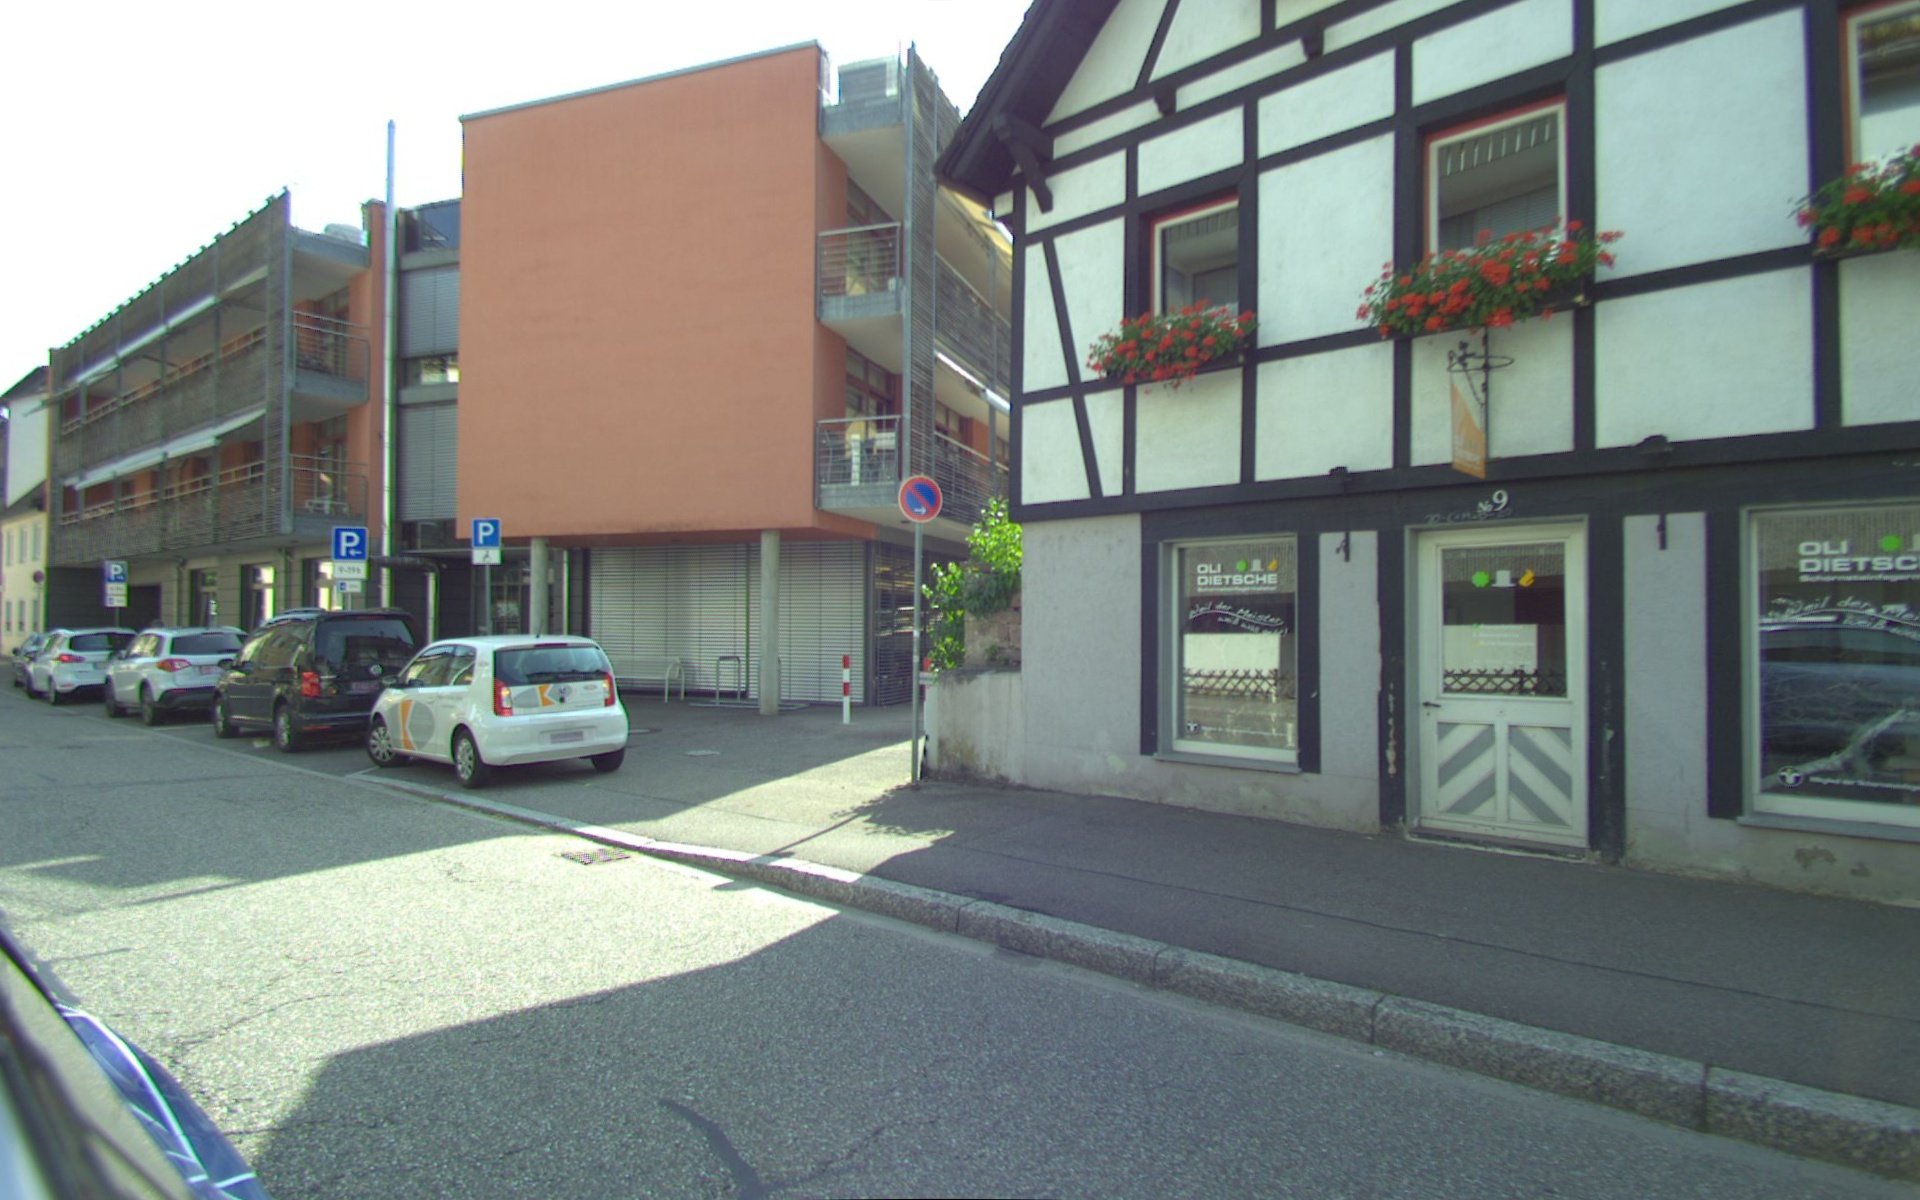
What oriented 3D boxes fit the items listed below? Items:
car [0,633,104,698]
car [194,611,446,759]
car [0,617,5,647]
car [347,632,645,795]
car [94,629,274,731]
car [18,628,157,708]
[{"bbox_3d":[-22.975,1.596,25.583,3.592,1.427,1.533,-1,0,41],"label":"car"},{"bbox_3d":[-9.169,1.101,14.376,4.263,1.810,1.703,-2,-2,38],"label":"car"},{"bbox_3d":[-55.779,1.769,56.002,1.828,1.697,3.957,-3,-3,31],"label":"car"},{"bbox_3d":[-5.158,1.122,11.065,3.566,1.443,1.649,-3,-2,41],"label":"car"},{"bbox_3d":[-13.784,1.332,17.910,3.945,1.602,1.658,-2,-2,39],"label":"car"},{"bbox_3d":[-19.011,1.429,22.005,3.760,1.567,1.657,-2,-2,39],"label":"car"}]
